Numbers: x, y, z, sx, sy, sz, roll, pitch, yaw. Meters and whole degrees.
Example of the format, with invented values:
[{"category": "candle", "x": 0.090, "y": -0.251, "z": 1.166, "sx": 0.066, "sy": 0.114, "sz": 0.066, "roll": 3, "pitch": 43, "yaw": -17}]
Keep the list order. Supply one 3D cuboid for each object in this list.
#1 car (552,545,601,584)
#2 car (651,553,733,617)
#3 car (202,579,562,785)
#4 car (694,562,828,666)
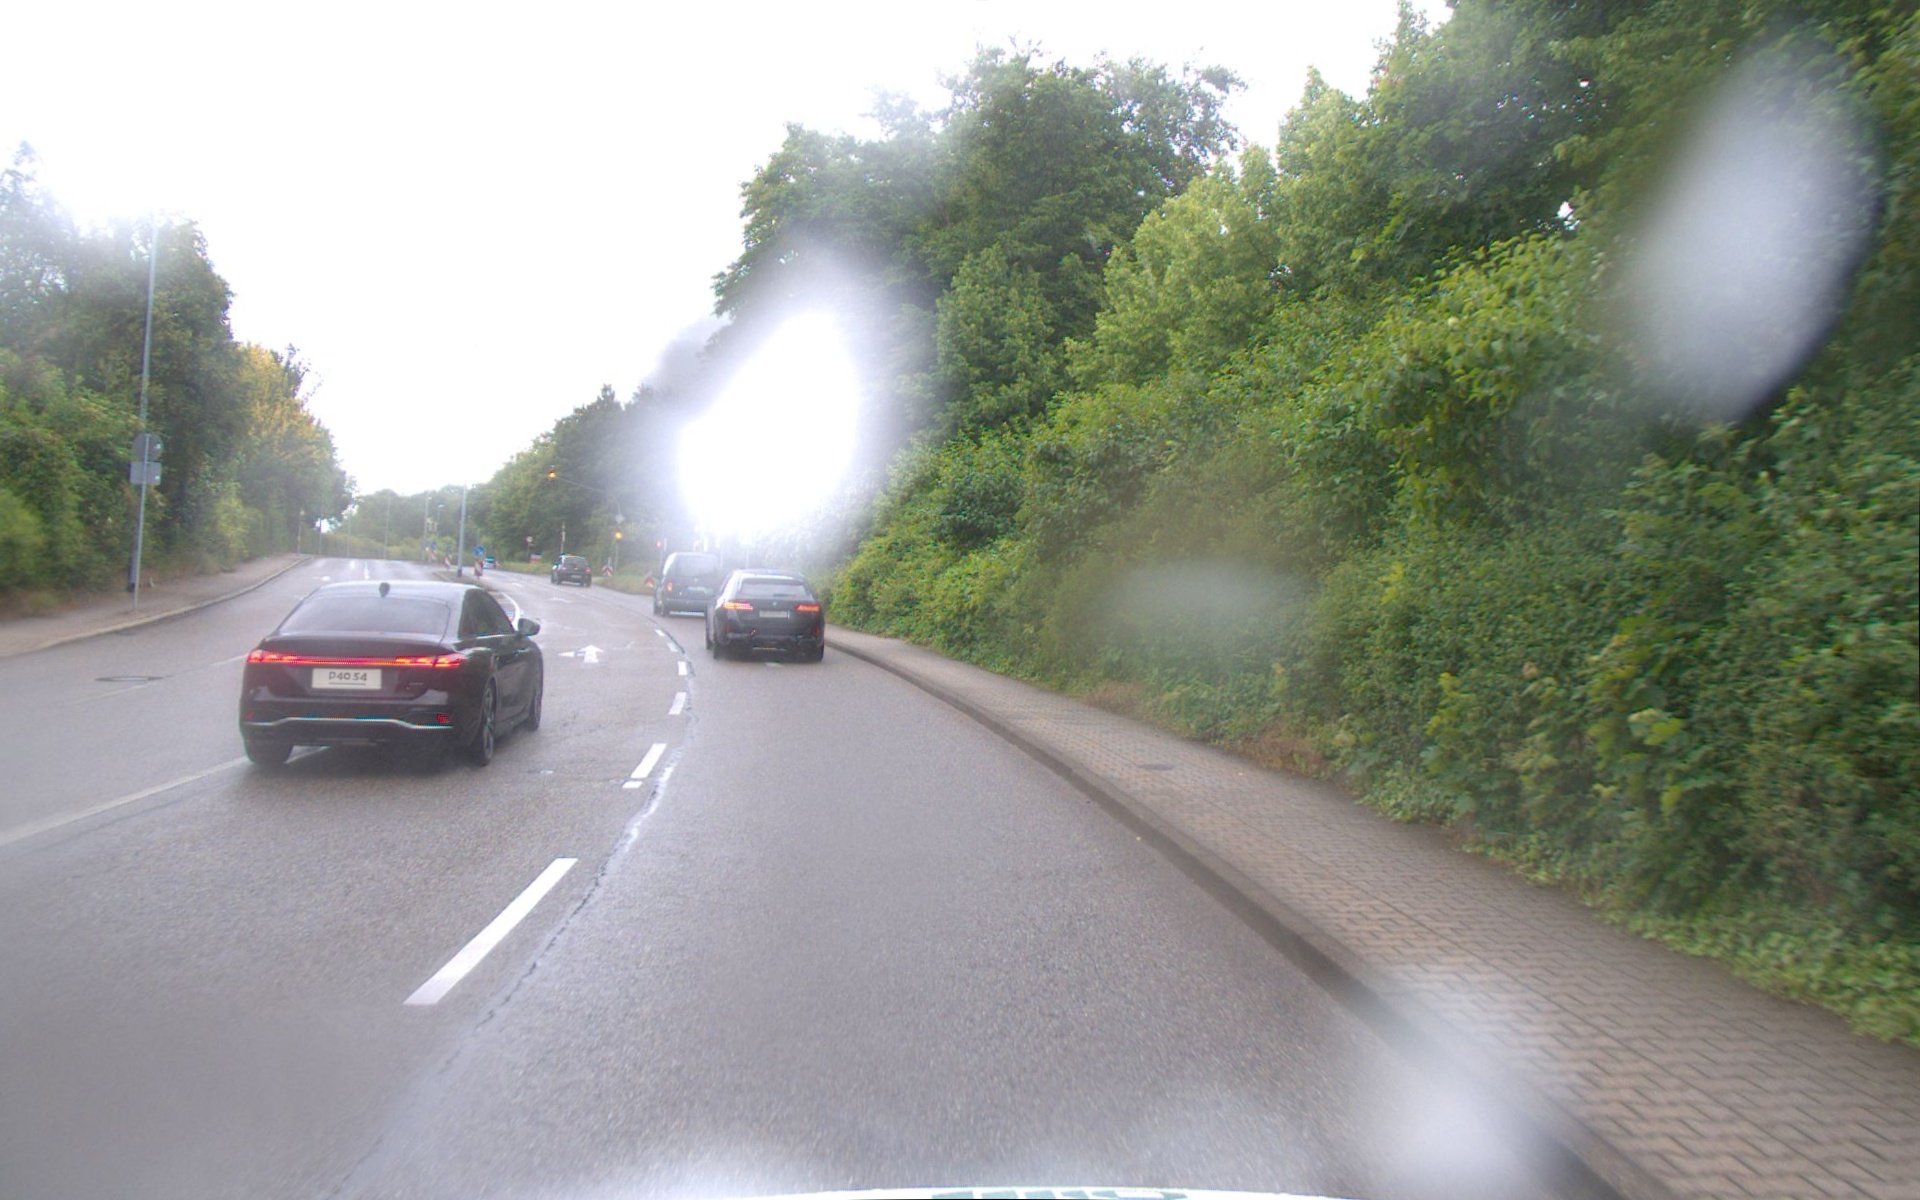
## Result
[{"category": "car", "x": -19.481, "y": -1.781, "z": 83.926, "sx": 1.824, "sy": 1.691, "sz": 3.975, "roll": 3, "pitch": -3, "yaw": -21}, {"category": "car", "x": -7.898, "y": -0.441, "z": 48.447, "sx": 1.961, "sy": 1.779, "sz": 3.984, "roll": 1, "pitch": 0, "yaw": -15}, {"category": "car", "x": -4.742, "y": 0.569, "z": 14.352, "sx": 1.869, "sy": 1.422, "sz": 4.851, "roll": 1, "pitch": 1, "yaw": -6}, {"category": "car", "x": -3.581, "y": 0.190, "z": 29.061, "sx": 1.958, "sy": 1.613, "sz": 4.651, "roll": 2, "pitch": 1, "yaw": -11}]
